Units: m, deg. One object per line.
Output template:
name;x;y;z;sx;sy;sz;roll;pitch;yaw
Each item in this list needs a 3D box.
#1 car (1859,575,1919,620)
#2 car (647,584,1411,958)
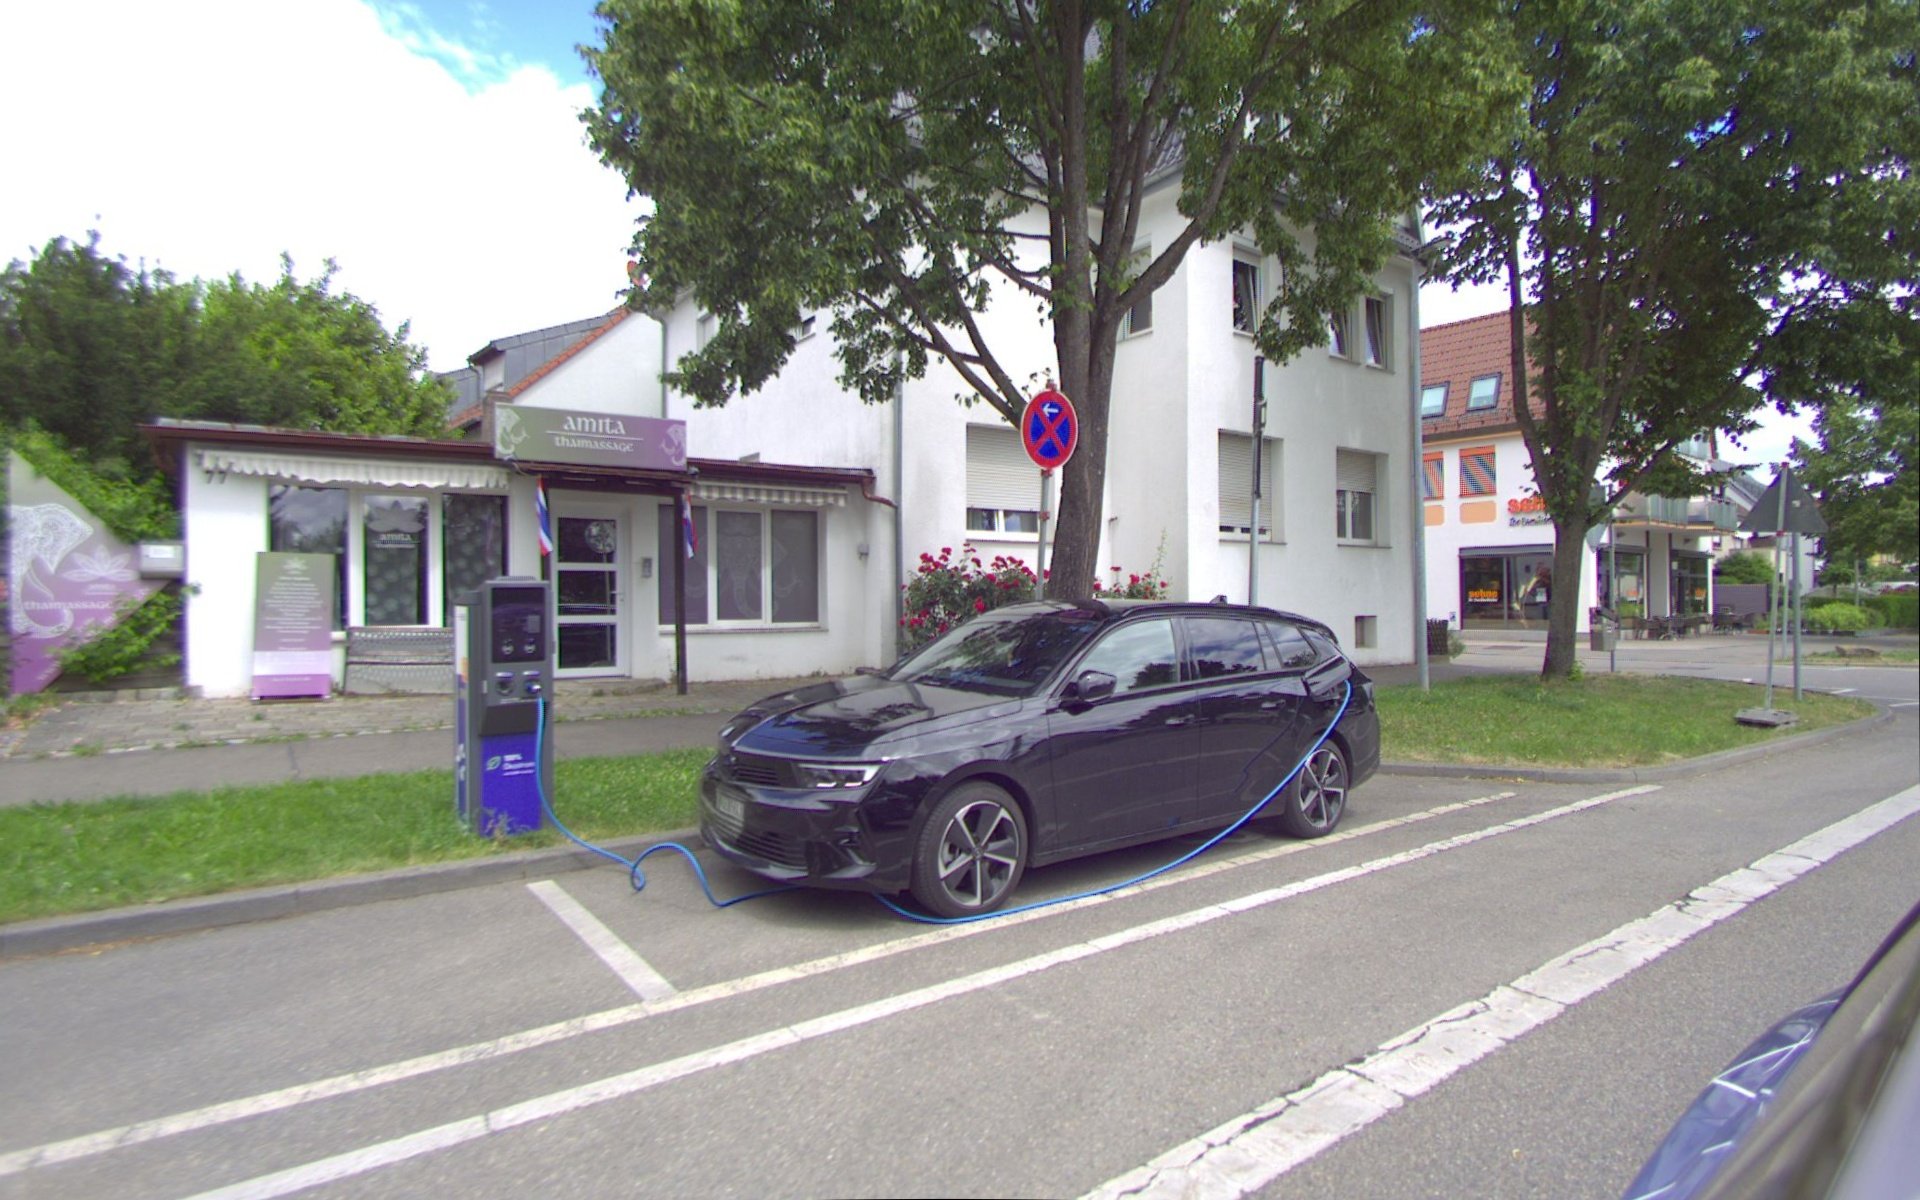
car;57.035;-0.144;59.706;1.962;2.625;5.726;1;-1;-39
car;0.661;0.659;6.037;4.530;1.473;1.711;0;1;-37
